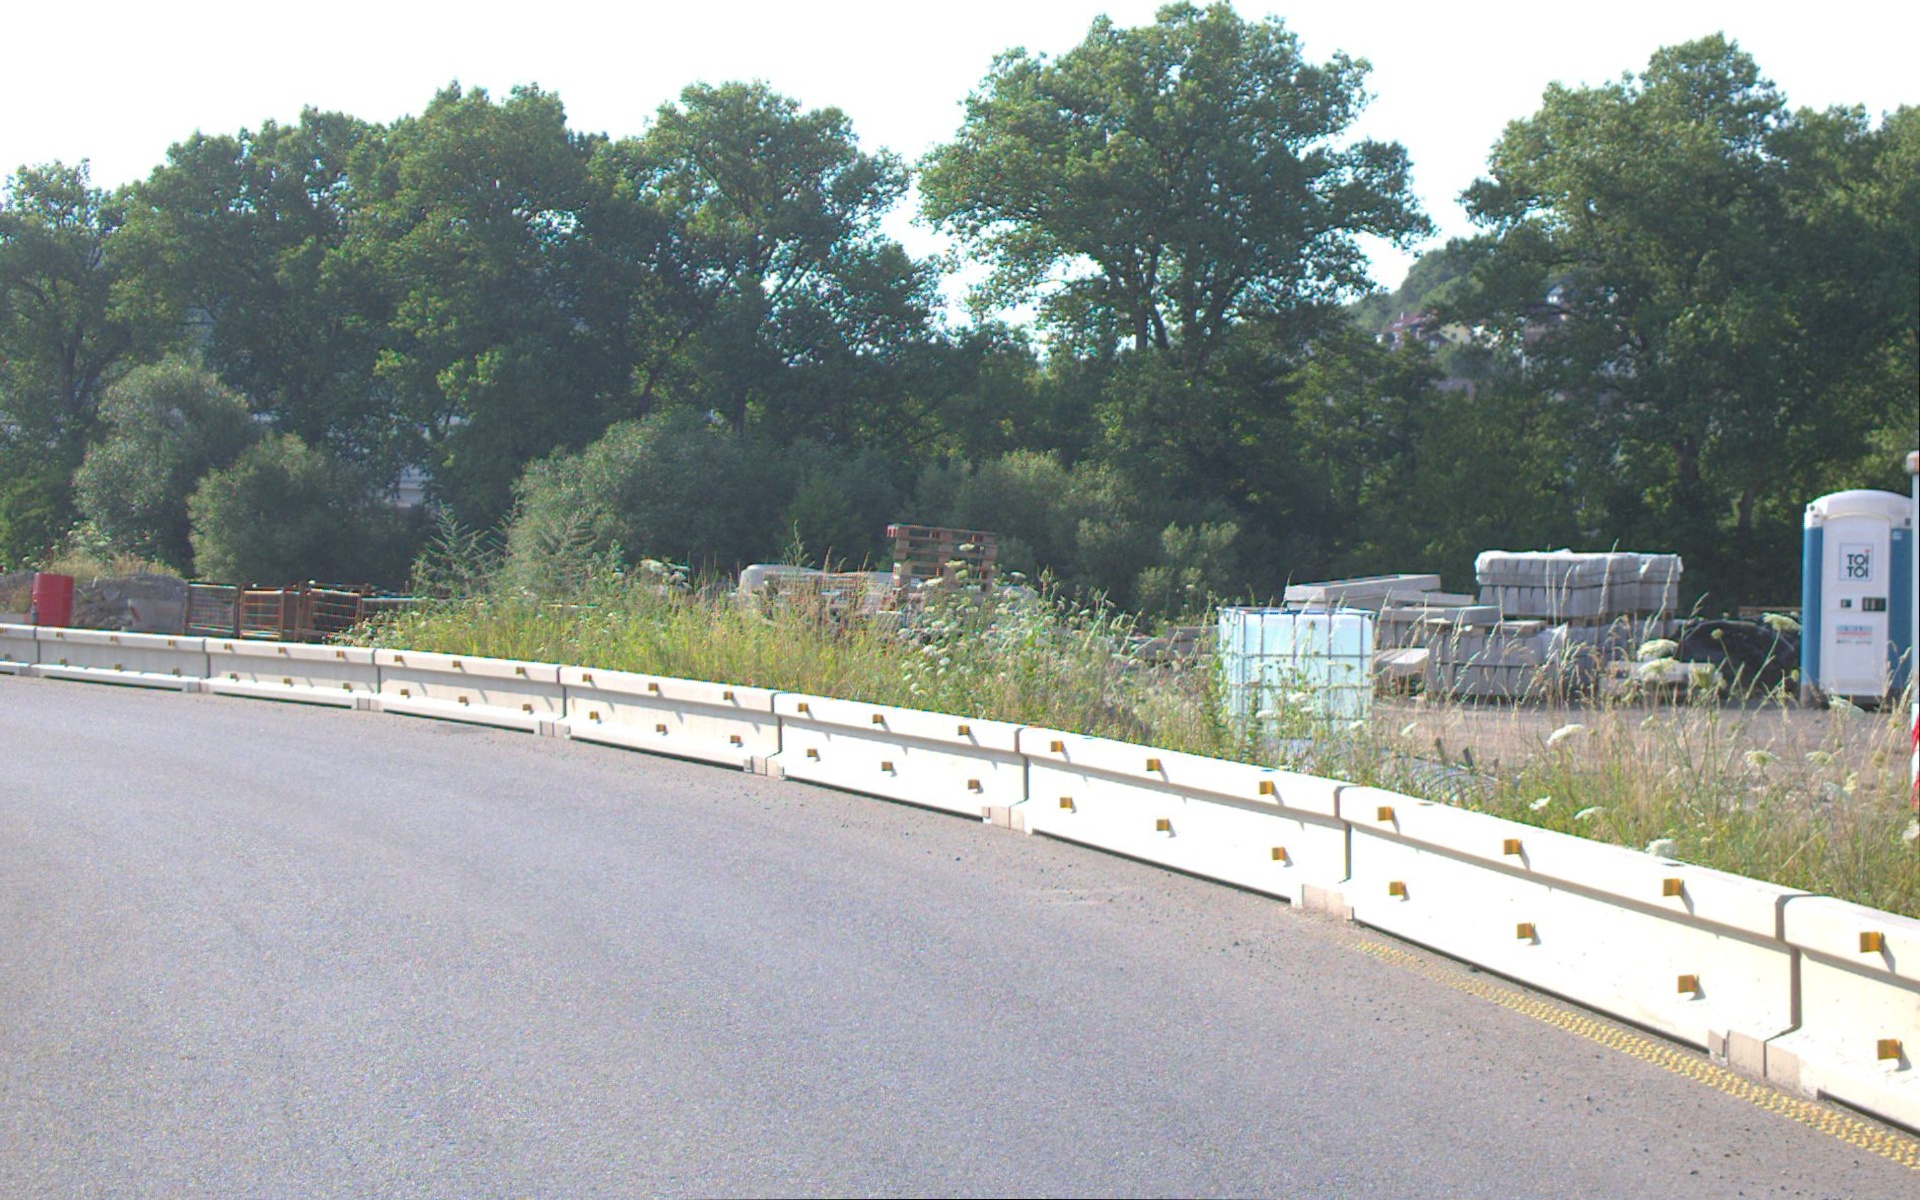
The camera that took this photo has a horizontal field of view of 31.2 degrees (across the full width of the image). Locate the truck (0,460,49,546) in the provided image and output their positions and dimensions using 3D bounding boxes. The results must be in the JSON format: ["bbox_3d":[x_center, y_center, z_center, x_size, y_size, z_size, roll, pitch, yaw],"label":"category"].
[{"bbox_3d":[-67.751,-6.828,241.869,3.165,5.850,10.672,1,1,8],"label":"truck"}]

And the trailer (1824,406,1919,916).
[{"bbox_3d":[6.102,0.353,14.138,3.003,2.406,7.229,2,1,-2],"label":"trailer"}]
